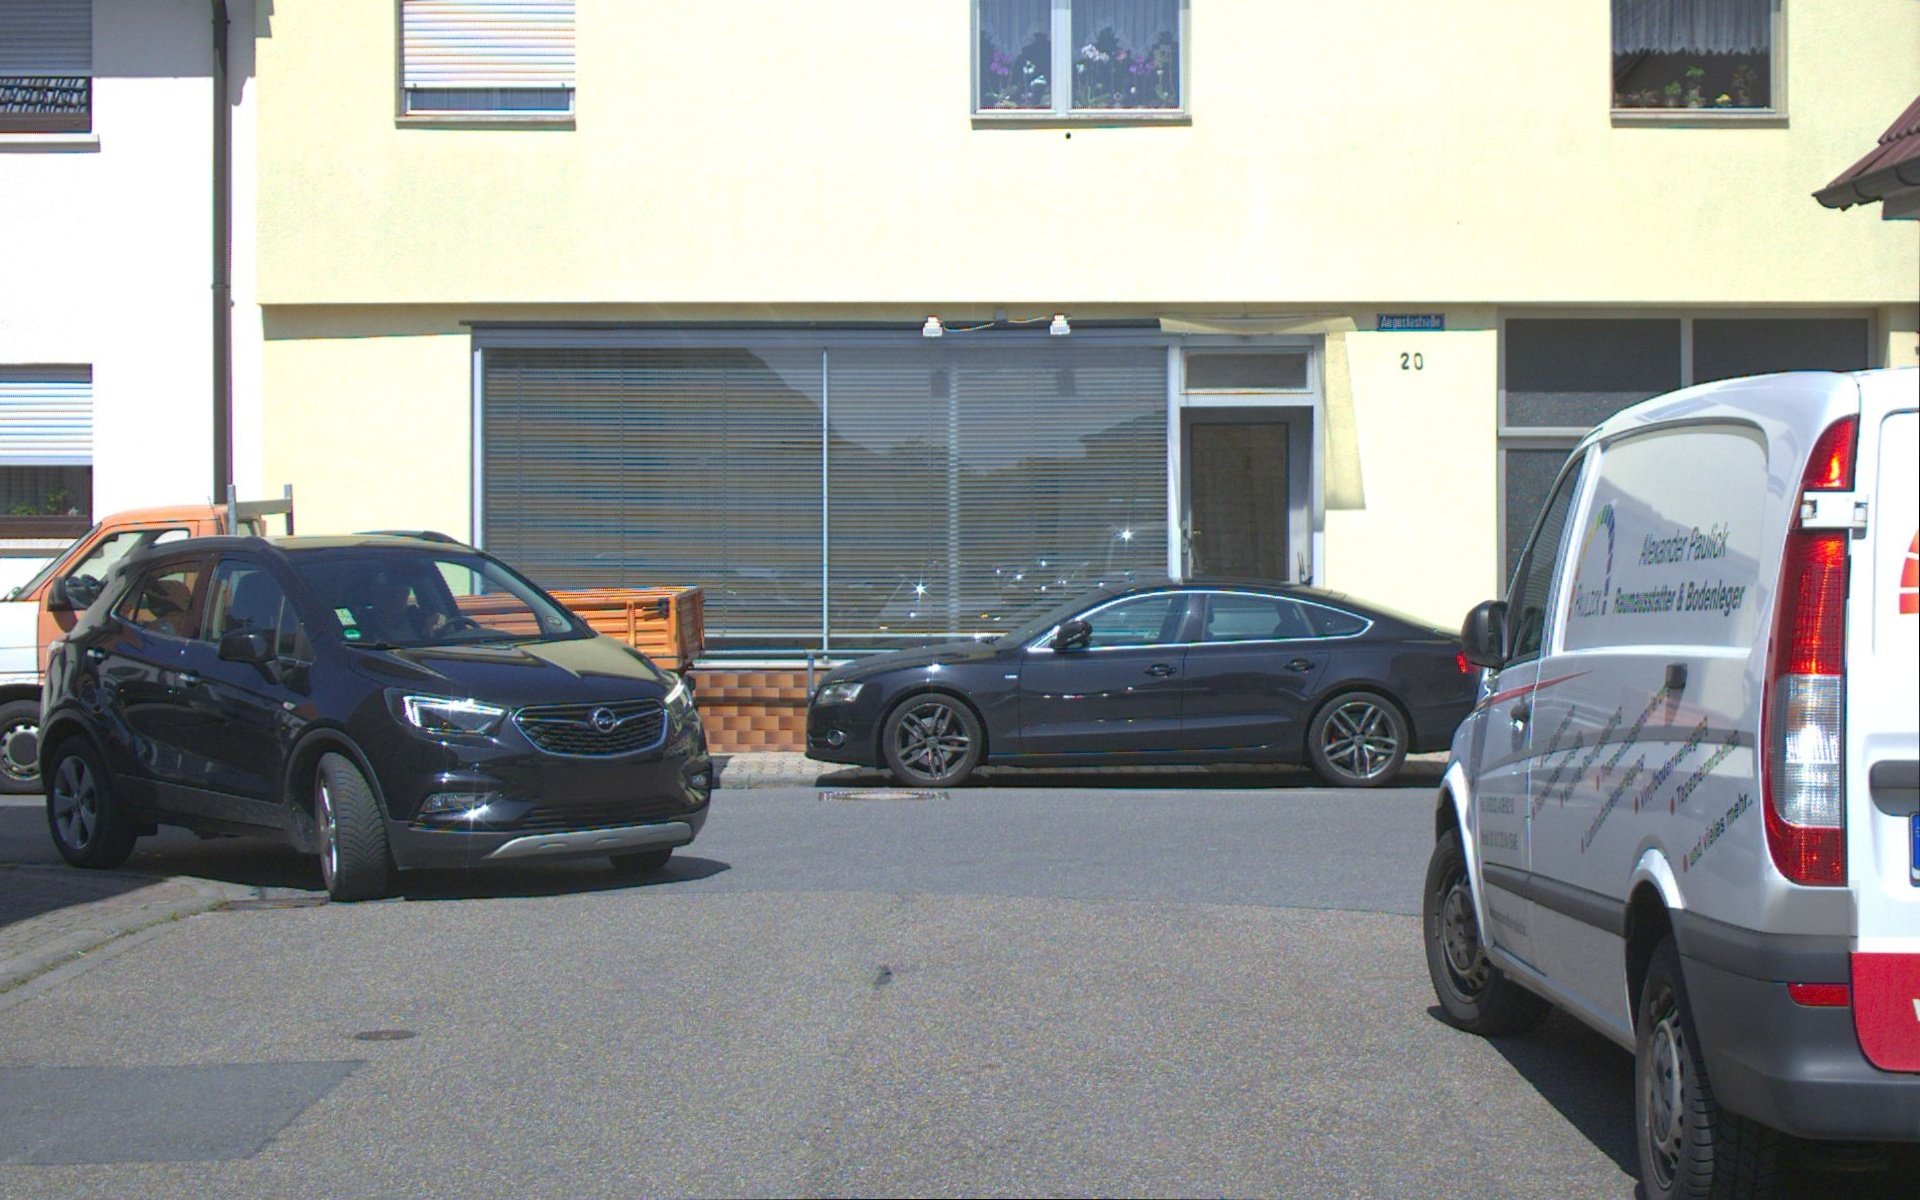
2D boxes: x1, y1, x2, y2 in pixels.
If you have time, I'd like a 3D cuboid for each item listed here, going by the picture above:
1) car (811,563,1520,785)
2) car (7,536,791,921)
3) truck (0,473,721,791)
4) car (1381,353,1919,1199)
[{"bbox_3d":[1.328,0.520,23.374,4.616,1.390,1.928,1,-2,-1],"label":"car"},{"bbox_3d":[-2.812,0.510,16.484,1.757,1.577,4.279,-2,1,-40],"label":"car"},{"bbox_3d":[-4.252,0.201,23.405,5.063,2.007,2.189,1,0,0],"label":"truck"},{"bbox_3d":[2.457,0.446,9.024,2.012,1.832,5.265,1,1,0],"label":"car"}]
